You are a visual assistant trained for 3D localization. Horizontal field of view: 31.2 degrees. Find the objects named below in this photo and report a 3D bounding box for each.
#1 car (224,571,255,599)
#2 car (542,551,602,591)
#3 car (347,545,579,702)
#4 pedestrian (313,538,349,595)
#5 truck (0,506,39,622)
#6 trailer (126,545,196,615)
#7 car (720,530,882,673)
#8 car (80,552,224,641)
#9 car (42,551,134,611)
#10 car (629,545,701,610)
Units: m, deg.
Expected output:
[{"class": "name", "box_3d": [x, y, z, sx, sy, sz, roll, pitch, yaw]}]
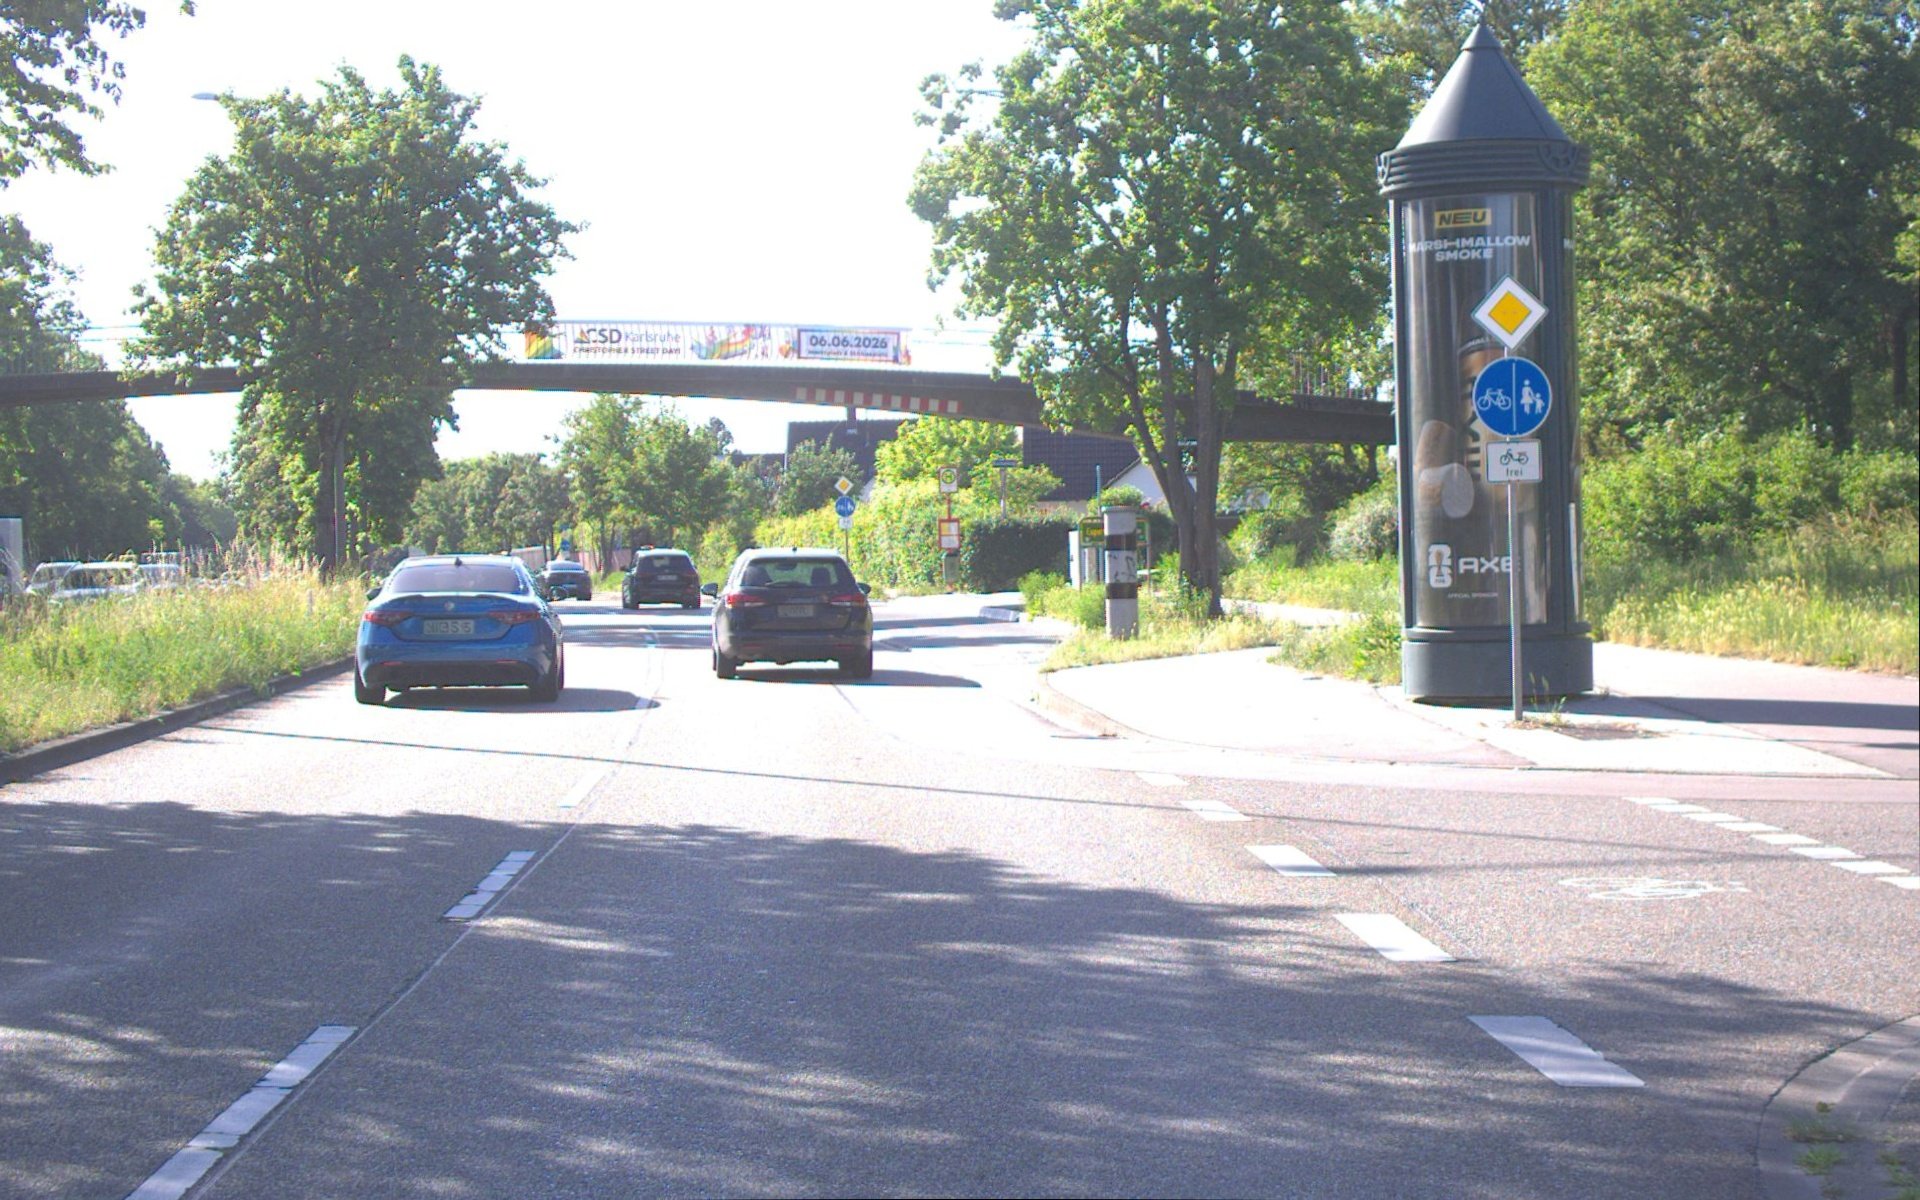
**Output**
[{"class": "car", "box_3d": [-43.533, -0.897, 207.744, 1.730, 1.626, 4.199, -2, 1, -11]}, {"class": "car", "box_3d": [-14.155, -1.072, 125.405, 1.898, 1.351, 4.001, -1, 1, -10]}, {"class": "car", "box_3d": [-4.817, 0.182, 33.807, 1.994, 1.400, 4.001, -1, 1, -5]}, {"class": "pedestrian", "box_3d": [-18.583, -0.988, 101.551, 0.631, 1.691, 0.942, 0, 1, 19]}, {"class": "truck", "box_3d": [-22.023, -0.757, 75.919, 2.172, 2.504, 5.743, -3, 1, -5]}, {"class": "trailer", "box_3d": [-22.585, -0.580, 97.277, 1.562, 1.903, 4.283, -1, 1, -8]}, {"class": "car", "box_3d": [-1.796, 0.021, 39.857, 1.760, 1.554, 4.000, 1, 0, -1]}, {"class": "car", "box_3d": [-16.164, -0.104, 69.021, 1.856, 1.600, 5.576, -2, 1, -4]}, {"class": "car", "box_3d": [-25.019, -0.560, 98.725, 1.856, 1.600, 4.369, -2, 1, -6]}, {"class": "car", "box_3d": [-7.624, -0.595, 88.540, 1.743, 1.592, 4.176, -1, 1, -6]}]
